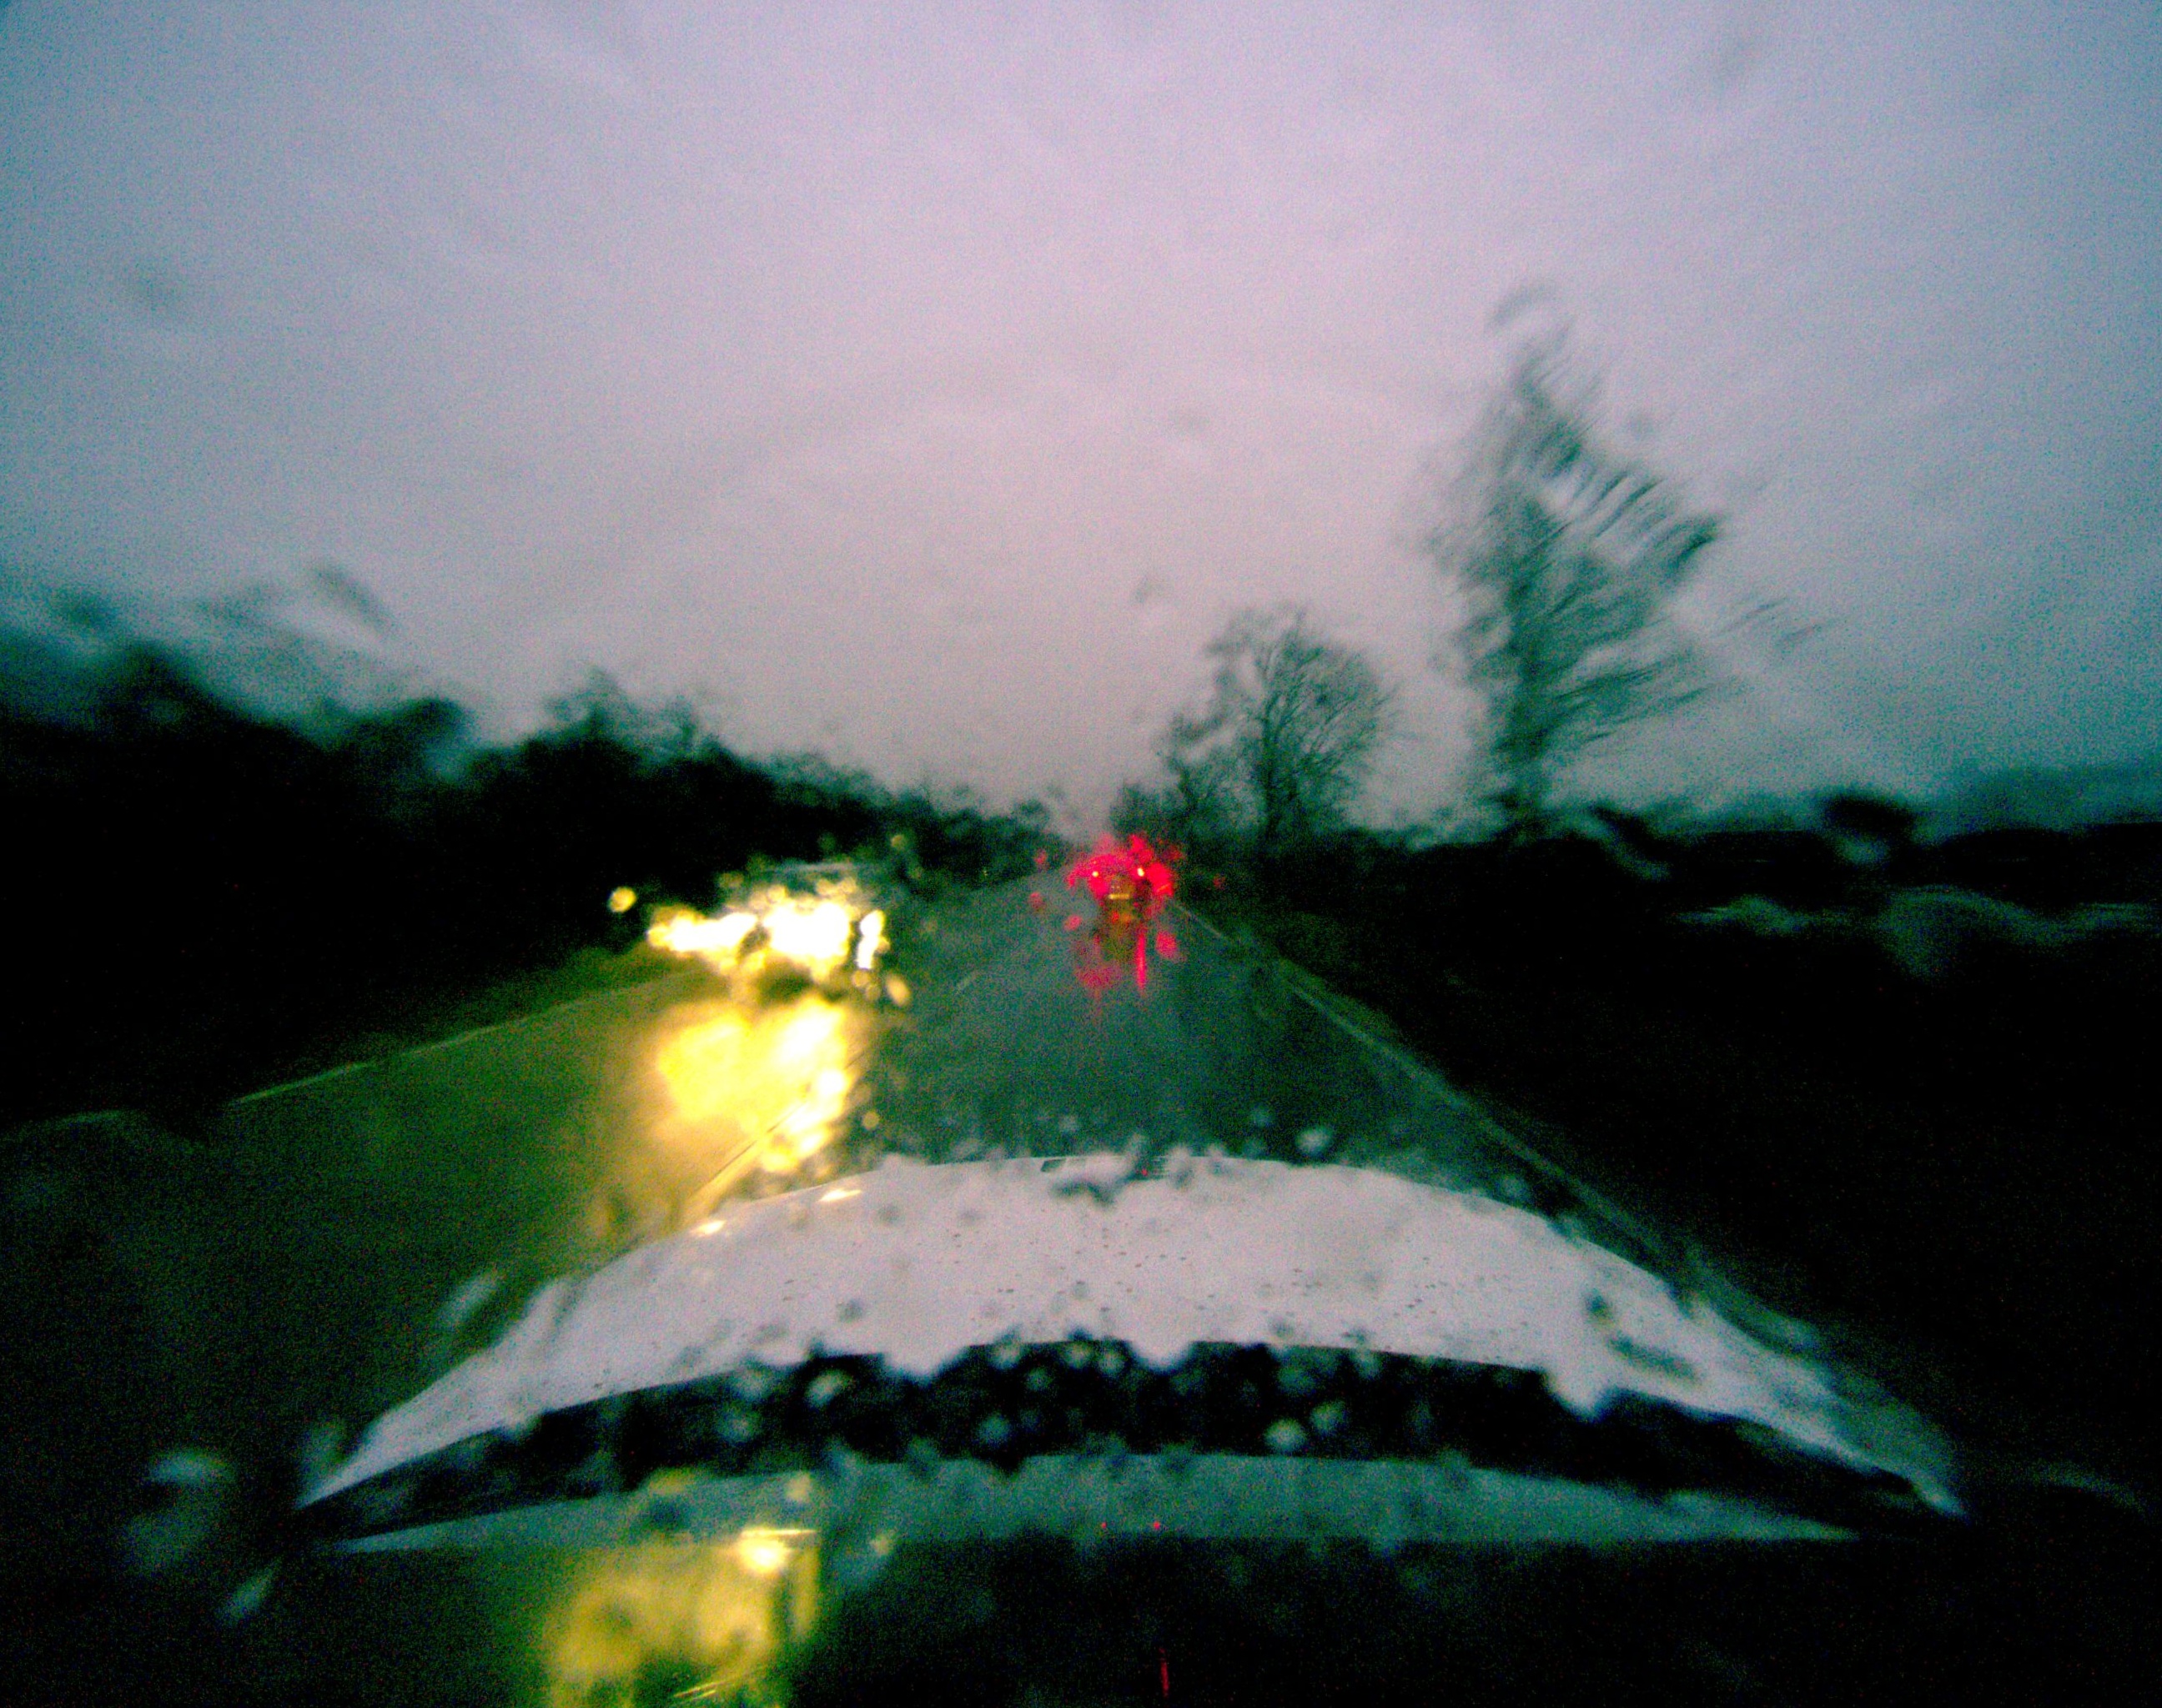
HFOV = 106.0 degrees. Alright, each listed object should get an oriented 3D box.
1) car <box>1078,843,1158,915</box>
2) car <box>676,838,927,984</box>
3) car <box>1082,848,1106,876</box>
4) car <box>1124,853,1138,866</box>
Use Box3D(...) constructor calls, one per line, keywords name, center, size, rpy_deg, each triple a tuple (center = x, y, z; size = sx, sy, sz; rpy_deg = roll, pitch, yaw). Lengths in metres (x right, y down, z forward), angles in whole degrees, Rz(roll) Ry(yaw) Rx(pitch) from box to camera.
Box3D(name="car", center=(1.038, 0.622, 22.269), size=(1.985, 1.784, 4.003), rpy_deg=(0, 0, 3))
Box3D(name="car", center=(-3.621, 0.640, 11.582), size=(1.751, 1.640, 4.688), rpy_deg=(0, 0, 2))
Box3D(name="car", center=(0.934, 0.545, 56.676), size=(1.568, 1.875, 3.712), rpy_deg=(0, 0, 3))
Box3D(name="car", center=(5.853, 0.629, 95.511), size=(1.556, 1.591, 3.493), rpy_deg=(0, 0, 5))
